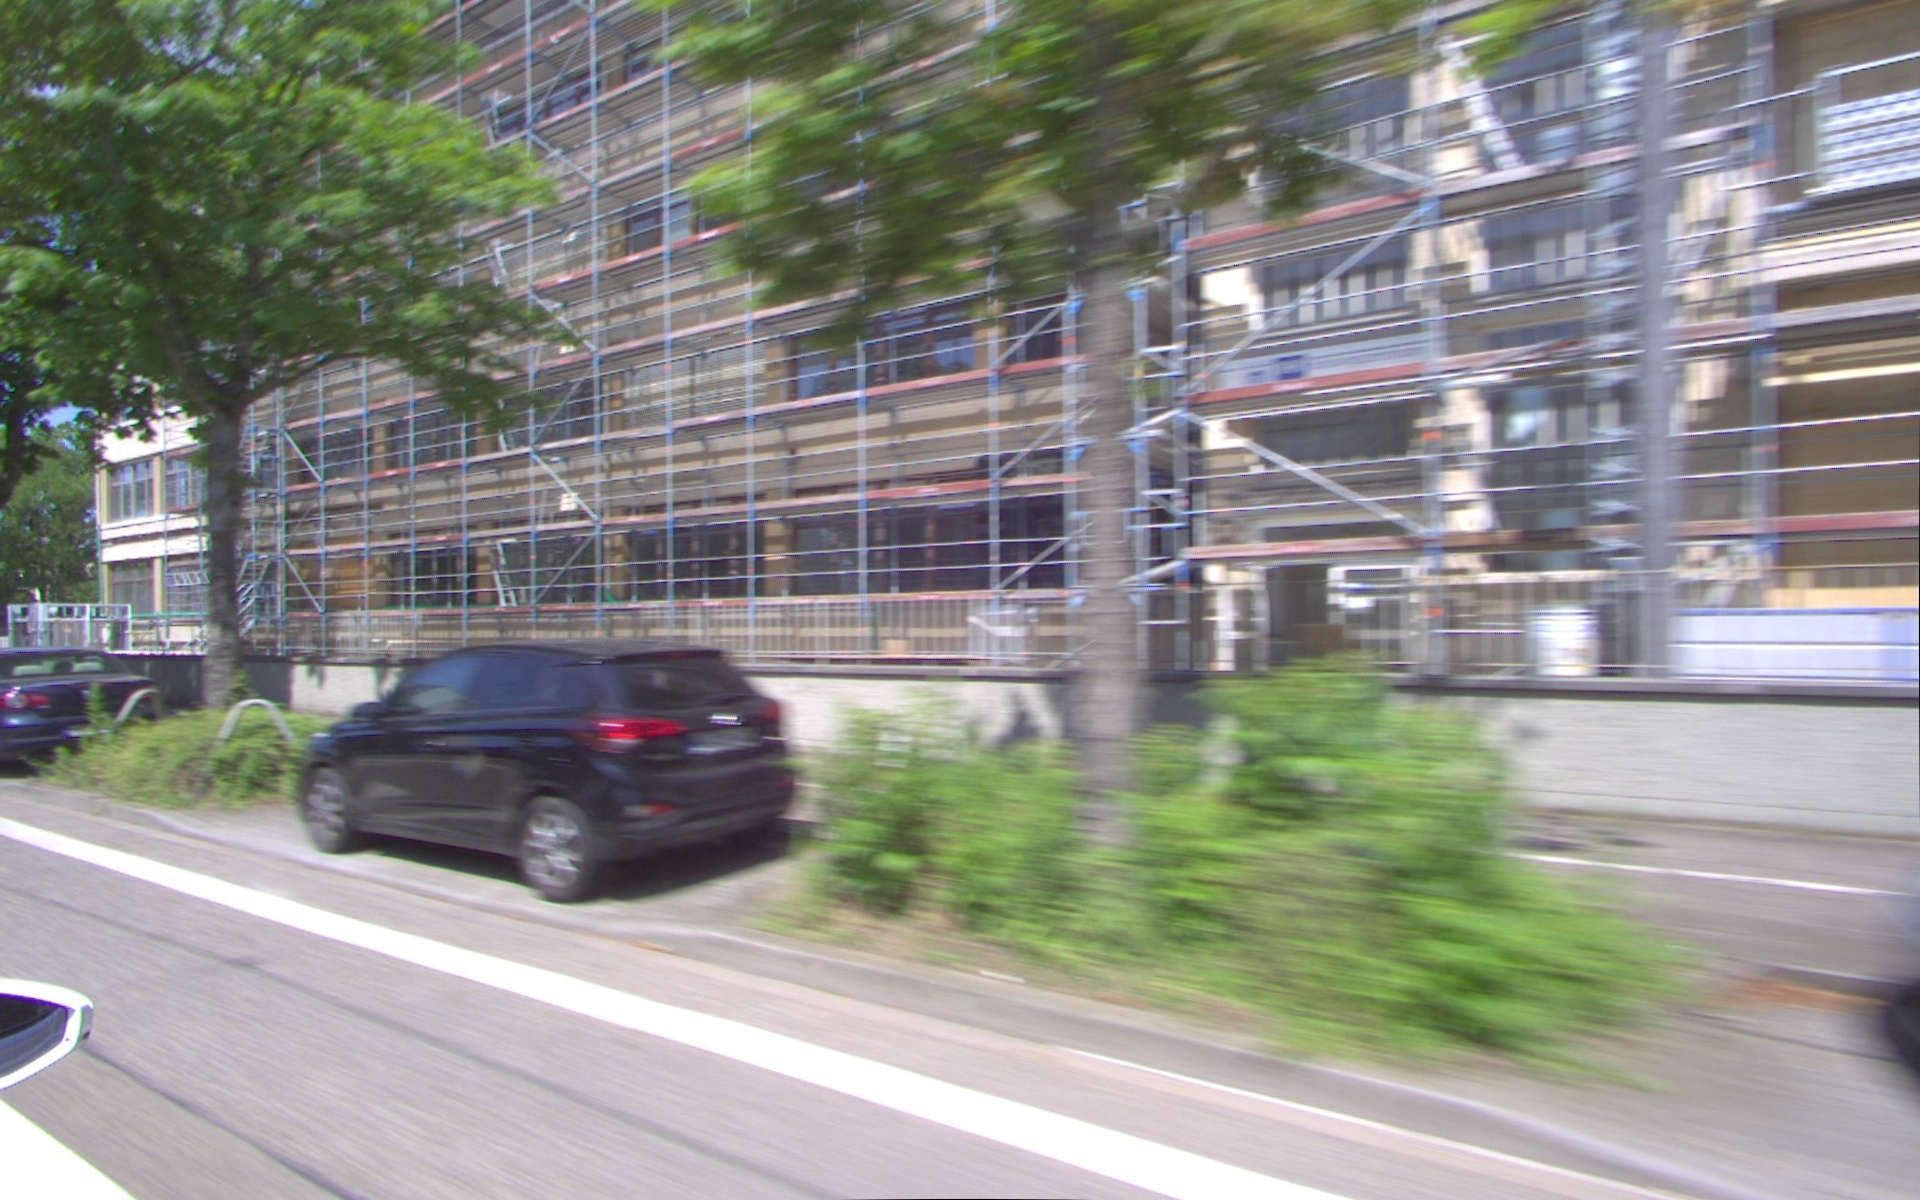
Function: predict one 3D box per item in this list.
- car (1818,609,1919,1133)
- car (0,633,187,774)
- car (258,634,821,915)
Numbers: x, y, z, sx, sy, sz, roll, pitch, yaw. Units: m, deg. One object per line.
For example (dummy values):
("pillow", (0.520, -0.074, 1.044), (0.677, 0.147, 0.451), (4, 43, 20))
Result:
("car", (4.786, 0.771, 2.212), (4.140, 1.537, 1.669), (-1, -1, 31))
("car", (-11.730, 1.173, 12.645), (4.424, 1.490, 1.820), (-1, -1, 34))
("car", (-3.054, 0.982, 7.058), (3.983, 1.456, 1.669), (-1, -1, 31))
